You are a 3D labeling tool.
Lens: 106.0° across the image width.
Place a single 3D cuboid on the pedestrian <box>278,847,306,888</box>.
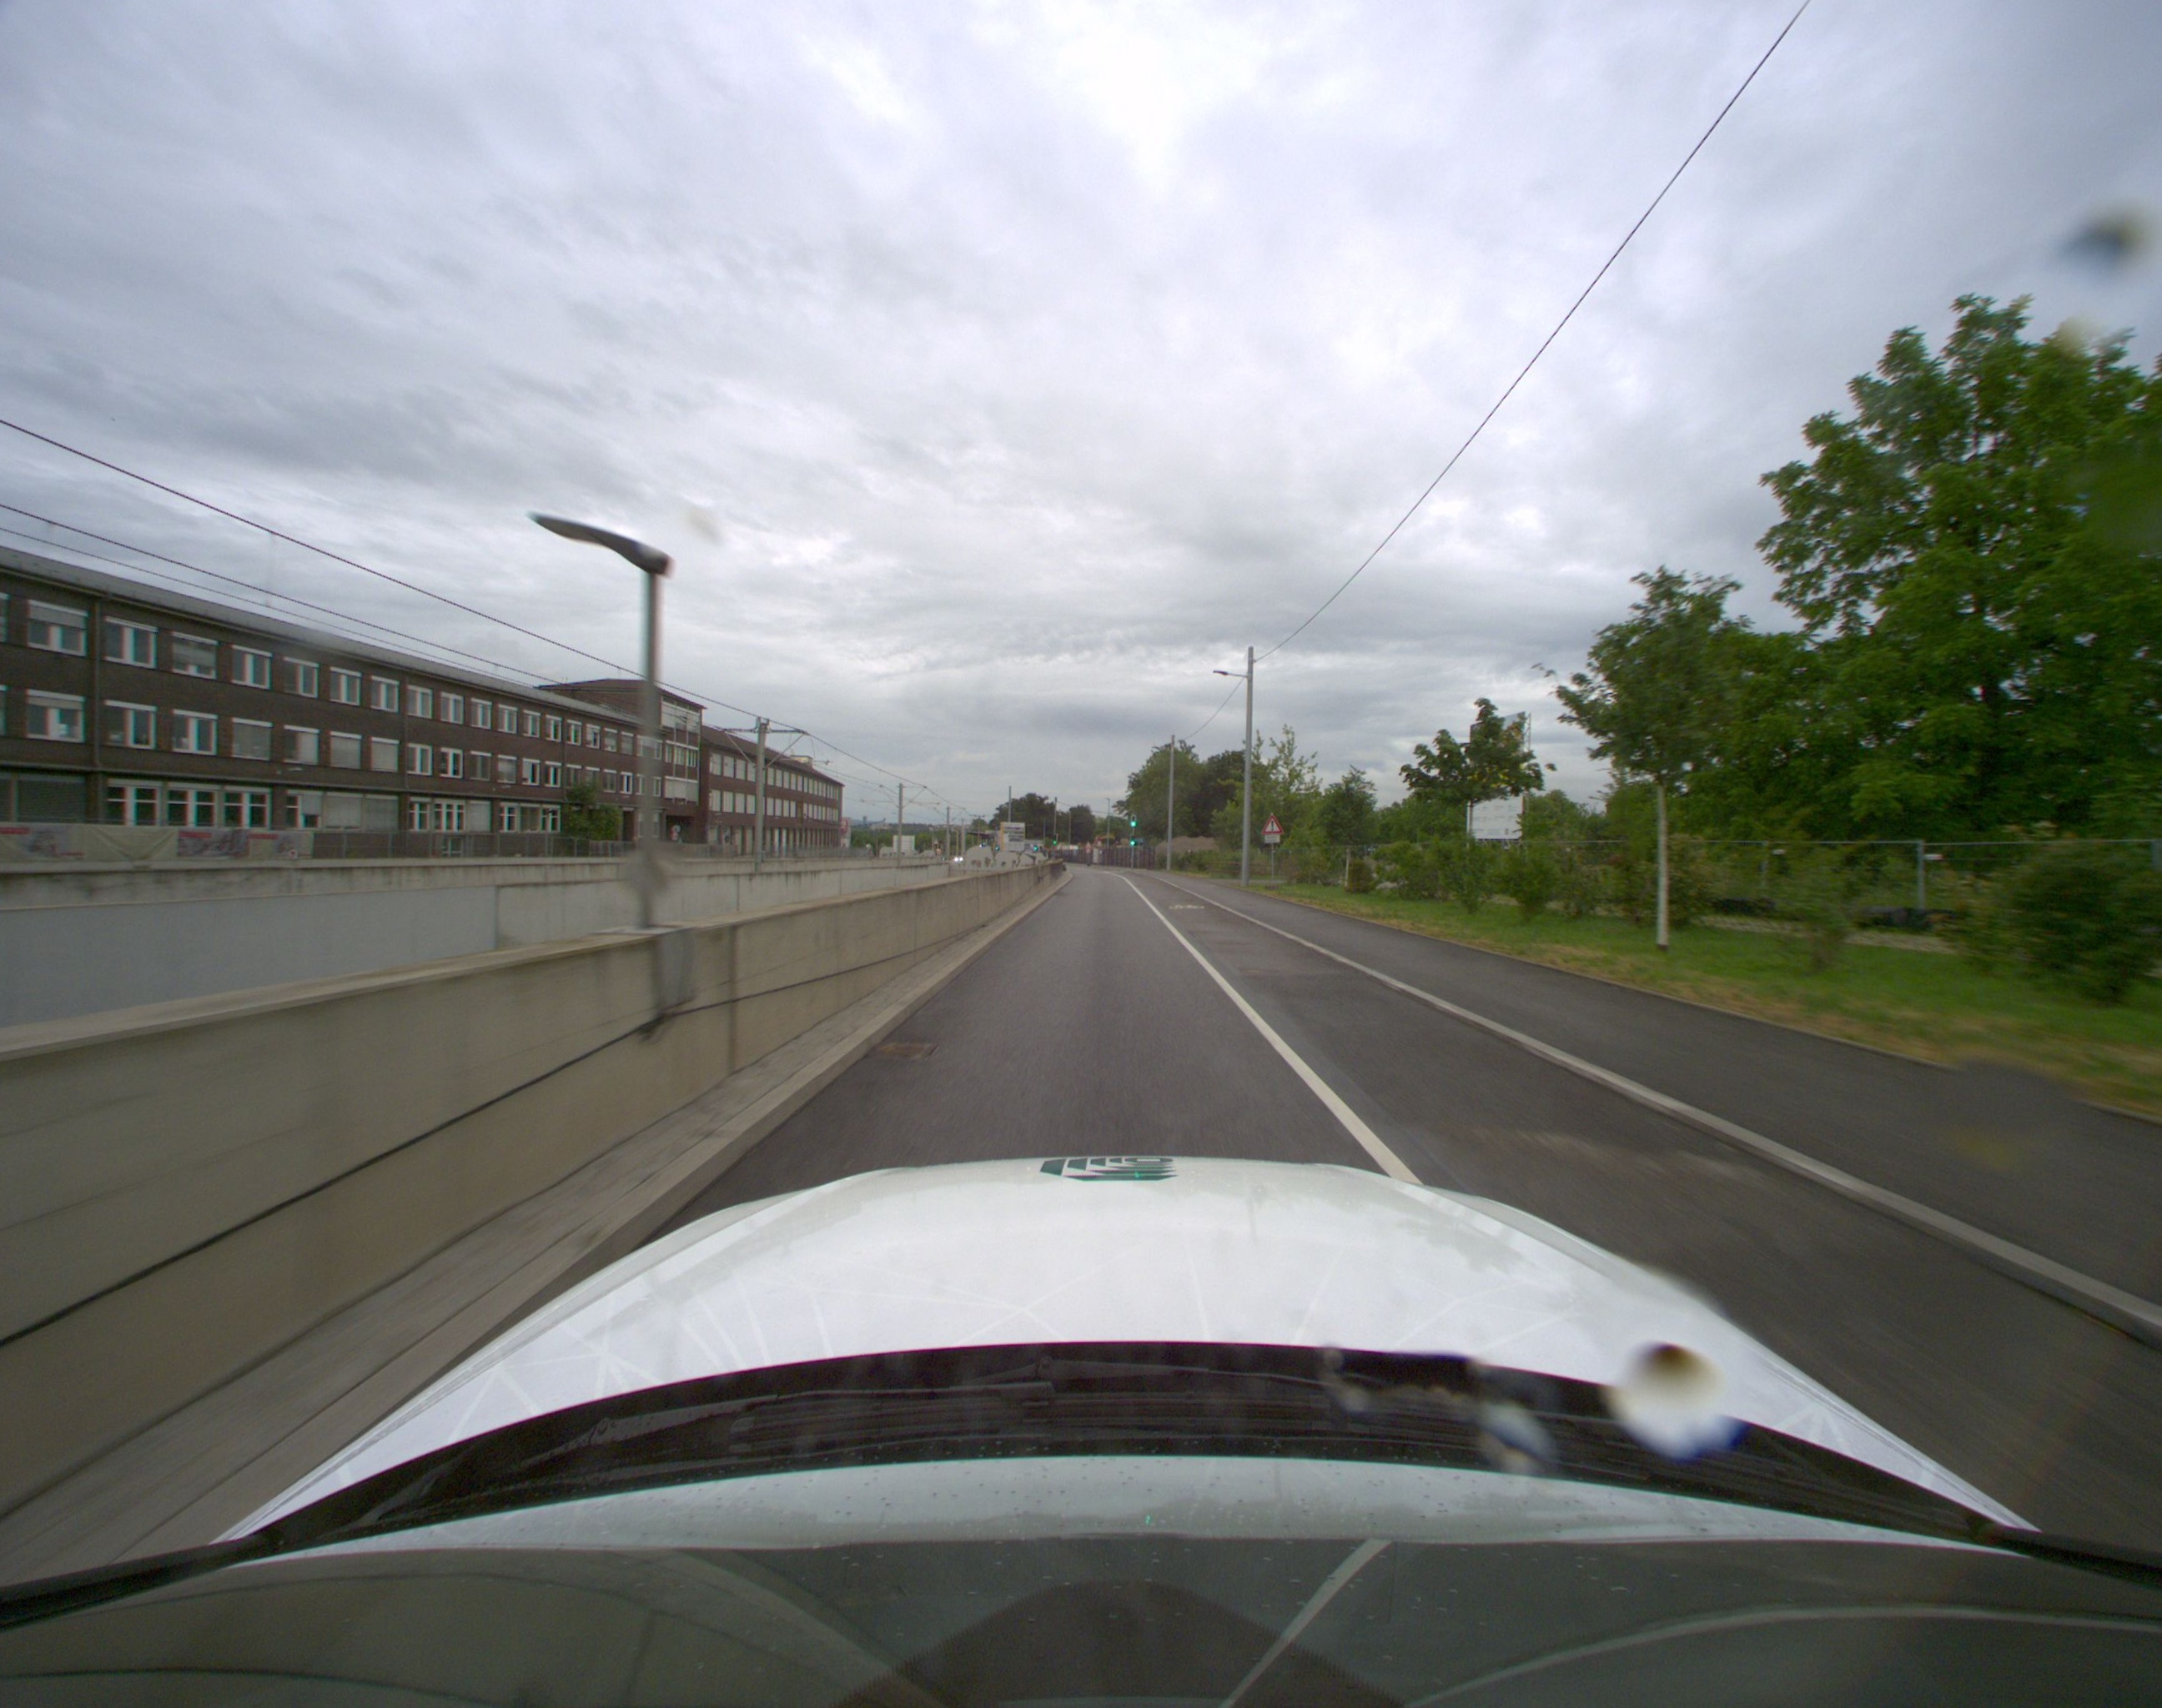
[{"bbox_3d":[-38.545,0.658,39.775,0.669,2.014,0.652,0,-1,-1],"label":"pedestrian"}]
